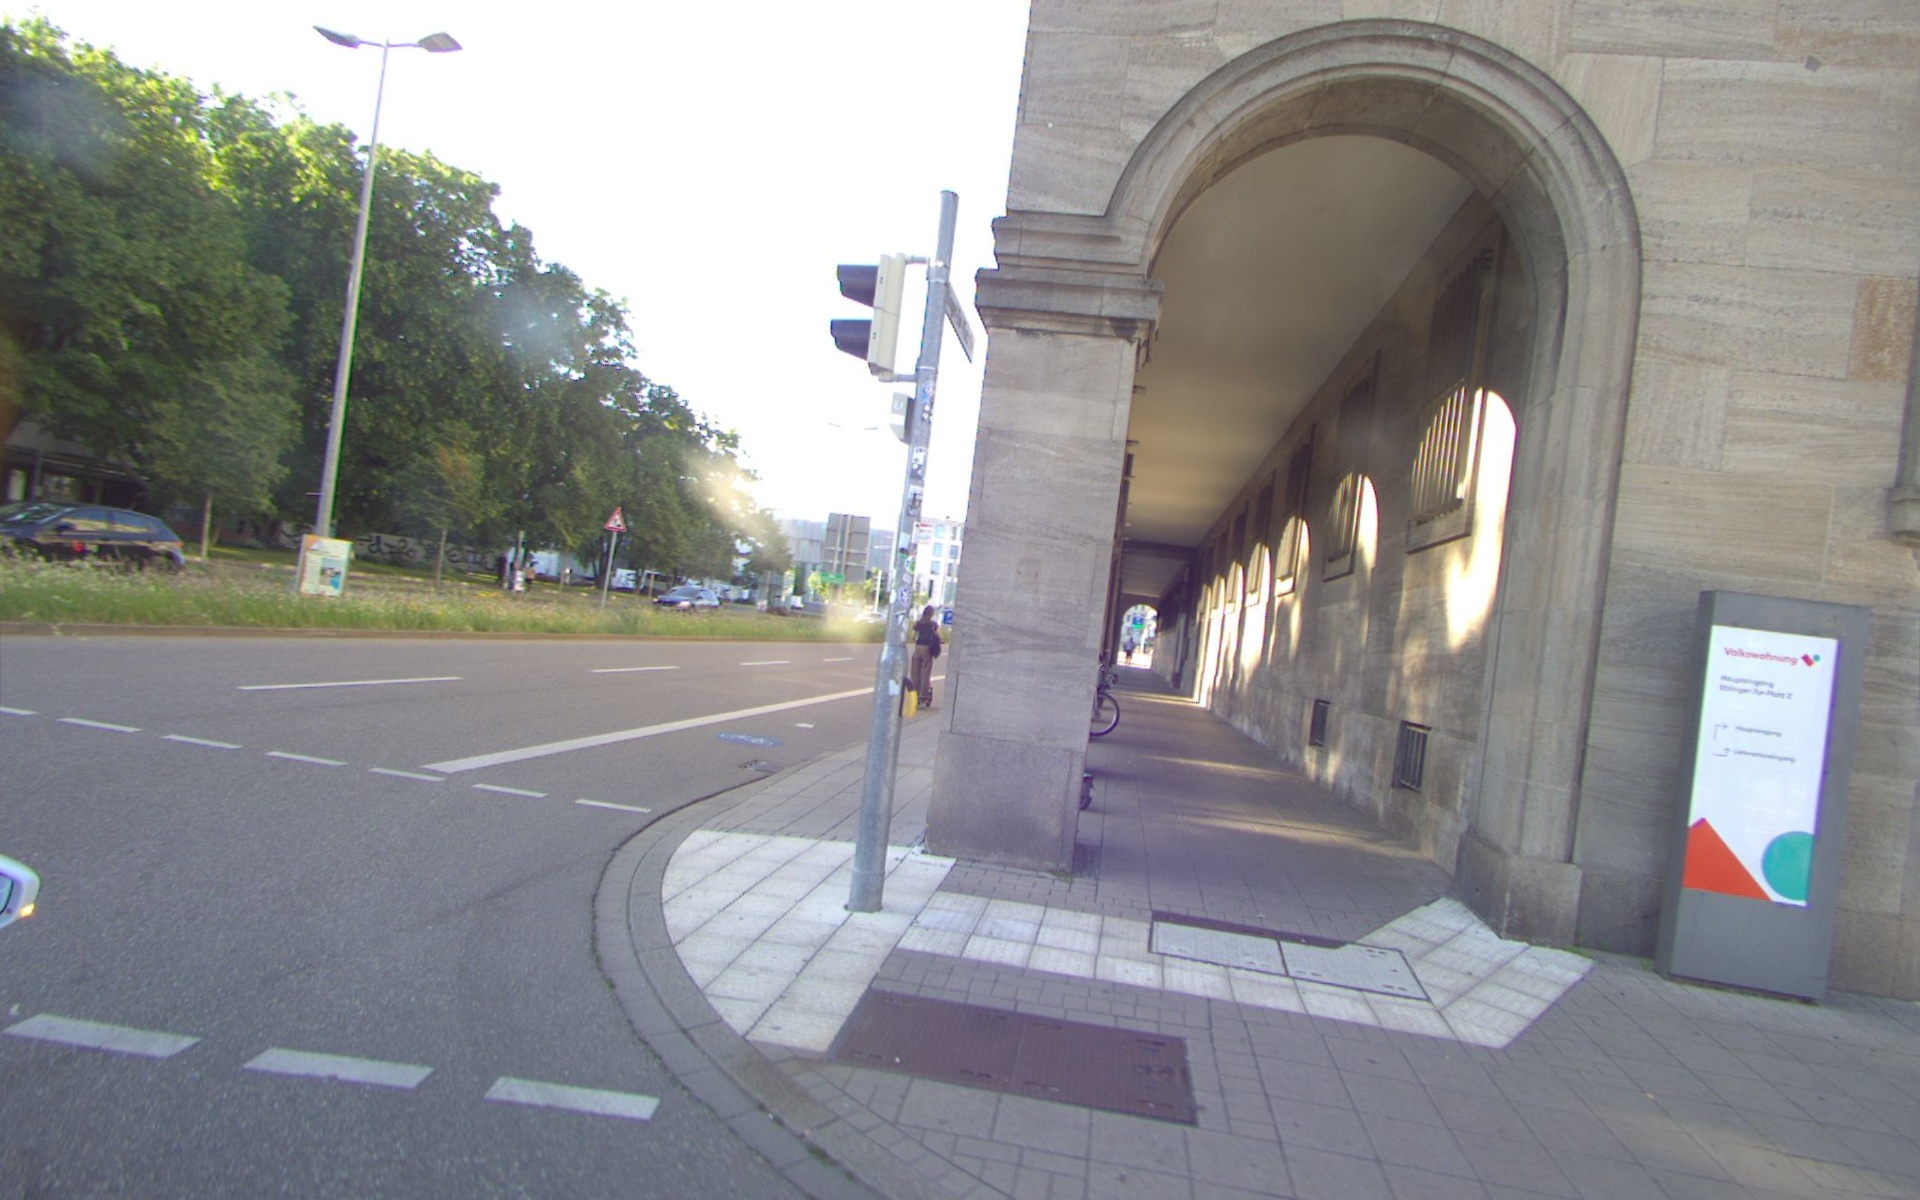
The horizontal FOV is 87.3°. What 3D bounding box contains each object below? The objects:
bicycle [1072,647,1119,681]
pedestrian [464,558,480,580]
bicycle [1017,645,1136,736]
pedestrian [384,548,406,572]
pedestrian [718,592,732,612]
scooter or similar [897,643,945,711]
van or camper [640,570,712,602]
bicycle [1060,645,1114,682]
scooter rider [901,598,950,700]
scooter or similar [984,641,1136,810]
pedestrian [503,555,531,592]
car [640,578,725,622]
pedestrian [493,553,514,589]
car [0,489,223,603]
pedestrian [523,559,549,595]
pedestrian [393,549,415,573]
[{"bbox_3d":[4.922,2.321,36.465,1.699,1.063,0.606,7,-1,-38],"label":"bicycle"},{"bbox_3d":[-40.865,-2.577,84.222,0.712,1.660,0.745,7,0,15],"label":"pedestrian"},{"bbox_3d":[1.717,1.335,15.027,0.659,1.147,1.695,6,-1,-40],"label":"bicycle"},{"bbox_3d":[-39.783,-2.823,70.828,0.888,1.558,0.895,7,0,3],"label":"pedestrian"},{"bbox_3d":[-19.091,0.163,81.806,0.603,1.546,0.943,7,0,15],"label":"pedestrian"},{"bbox_3d":[-0.649,1.281,17.050,0.546,1.043,1.118,7,-1,6],"label":"scooter or similar"},{"bbox_3d":[-25.355,-1.213,89.945,5.573,2.036,2.262,7,-3,11],"label":"van or camper"},{"bbox_3d":[4.369,2.186,34.602,1.682,1.063,0.527,6,0,-5],"label":"bicycle"},{"bbox_3d":[-0.585,0.842,17.214,0.552,1.651,0.650,7,0,7],"label":"scooter rider"},{"bbox_3d":[0.806,1.016,8.432,0.633,1.238,1.257,5,-1,-25],"label":"scooter or similar"},{"bbox_3d":[-22.324,-1.323,50.698,0.759,1.761,0.761,7,0,13],"label":"pedestrian"},{"bbox_3d":[-12.362,0.042,45.041,1.962,1.583,4.064,7,-1,10],"label":"car"},{"bbox_3d":[-23.175,-1.460,51.078,0.516,1.761,0.655,7,0,13],"label":"pedestrian"},{"bbox_3d":[-16.528,-1.019,18.533,1.962,1.695,4.554,7,-1,10],"label":"car"},{"bbox_3d":[-21.461,-1.166,50.956,0.730,1.660,0.727,7,0,13],"label":"pedestrian"},{"bbox_3d":[-39.701,-2.757,71.797,0.888,1.558,0.895,7,0,3],"label":"pedestrian"}]
